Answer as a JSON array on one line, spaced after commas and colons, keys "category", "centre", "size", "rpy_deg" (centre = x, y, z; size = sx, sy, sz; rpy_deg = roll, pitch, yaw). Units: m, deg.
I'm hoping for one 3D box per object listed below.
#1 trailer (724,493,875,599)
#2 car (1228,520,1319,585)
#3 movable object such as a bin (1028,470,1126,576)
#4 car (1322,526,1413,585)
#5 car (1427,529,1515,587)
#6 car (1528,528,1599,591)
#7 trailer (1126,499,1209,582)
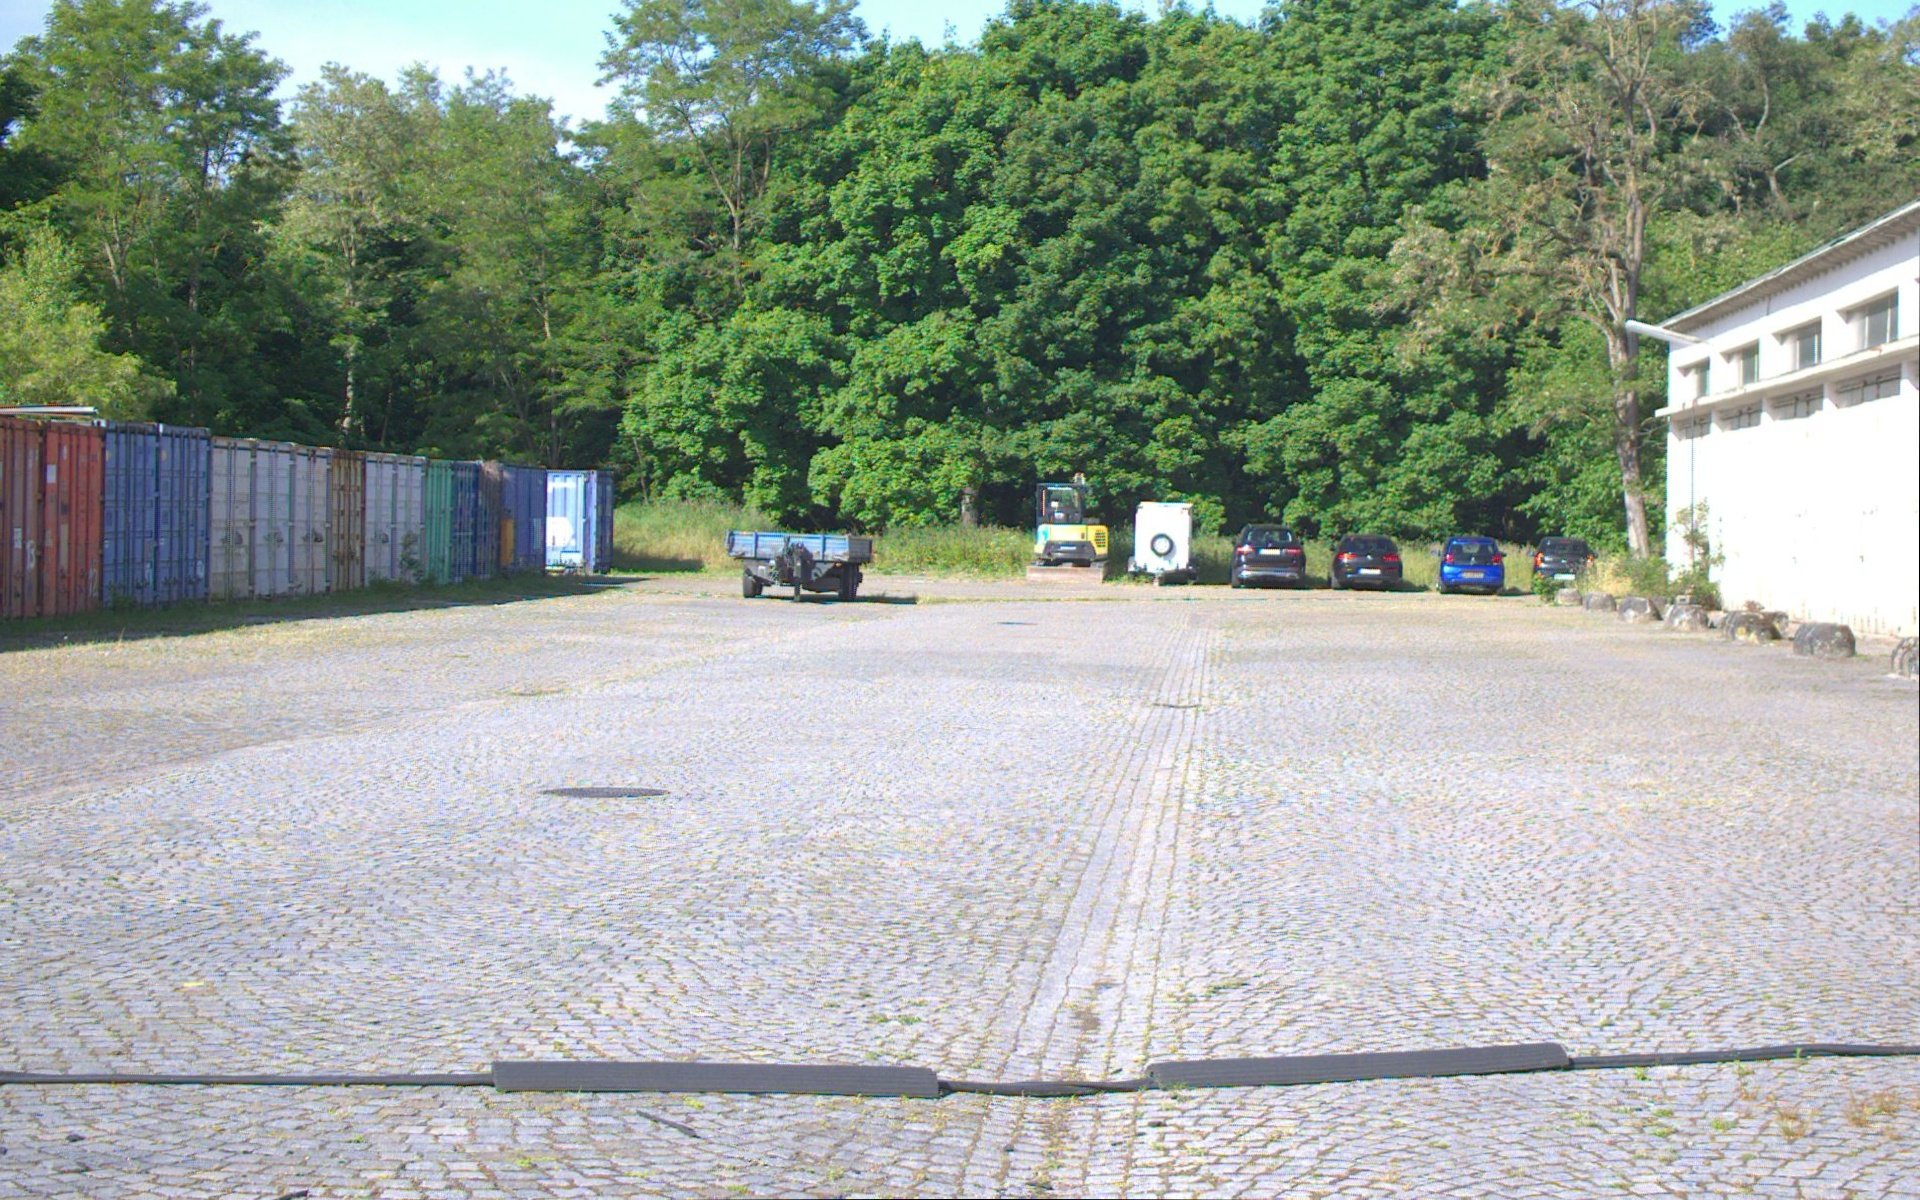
[{"category": "trailer", "centre": [-3.292, -1.139, 71.557], "size": [2.408, 2.006, 4.172], "rpy_deg": [3, 1, 6]}, {"category": "car", "centre": [8.045, -1.220, 88.019], "size": [1.862, 1.580, 3.998], "rpy_deg": [1, 1, 11]}, {"category": "movable object such as a bin", "centre": [3.097, -2.014, 90.373], "size": [1.994, 2.609, 3.999], "rpy_deg": [3, 1, 8]}, {"category": "car", "centre": [10.455, -1.146, 87.989], "size": [1.994, 1.457, 3.998], "rpy_deg": [1, 1, 11]}, {"category": "car", "centre": [13.079, -1.079, 87.772], "size": [1.994, 1.415, 3.998], "rpy_deg": [1, 1, 11]}, {"category": "car", "centre": [15.616, -1.067, 88.798], "size": [1.686, 1.558, 3.998], "rpy_deg": [1, 1, 11]}, {"category": "trailer", "centre": [5.458, -1.557, 89.907], "size": [1.794, 2.083, 3.970], "rpy_deg": [1, 1, 8]}]
